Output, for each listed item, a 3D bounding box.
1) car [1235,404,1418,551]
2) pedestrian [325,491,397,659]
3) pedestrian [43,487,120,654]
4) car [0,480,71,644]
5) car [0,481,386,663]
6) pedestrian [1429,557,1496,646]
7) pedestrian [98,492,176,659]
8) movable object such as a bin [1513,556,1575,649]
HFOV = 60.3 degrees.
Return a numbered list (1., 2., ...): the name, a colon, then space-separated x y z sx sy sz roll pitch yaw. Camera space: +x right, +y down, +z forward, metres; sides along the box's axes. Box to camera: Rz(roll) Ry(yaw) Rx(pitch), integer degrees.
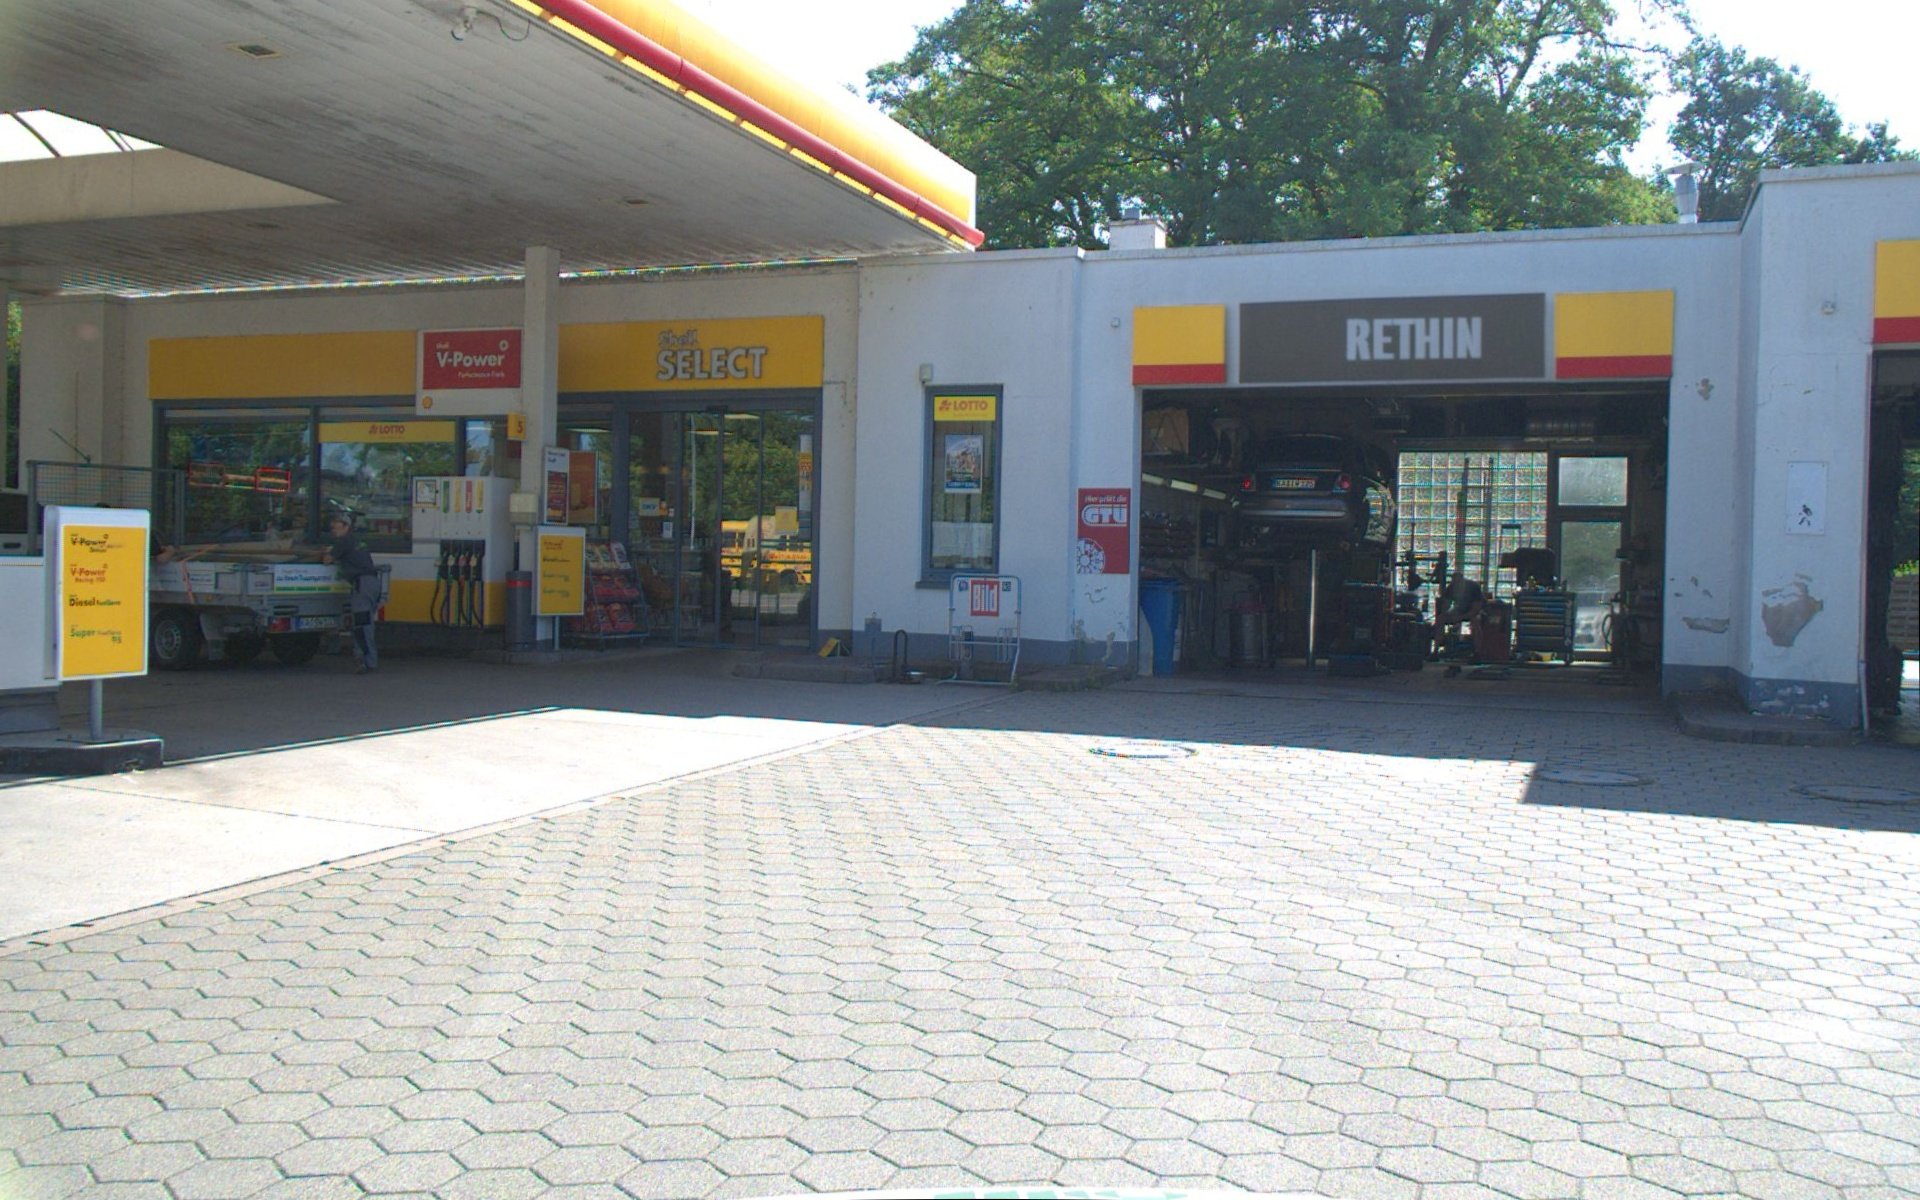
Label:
1. car: 4.805 -1.491 21.322 1.613 1.512 3.999 1 -1 23
2. pedestrian: -6.159 -0.263 17.015 0.489 1.697 0.475 1 1 22
3. pedestrian: -8.929 -0.301 16.817 0.465 1.660 0.500 1 1 24
4. car: -13.140 -0.489 19.686 4.666 1.870 1.858 1 1 20
5. car: -8.271 -0.309 17.611 3.908 1.758 1.832 1 1 25
6. pedestrian: 7.045 0.020 23.177 0.845 1.219 0.743 1 -1 20
7. pedestrian: -8.162 -0.247 16.405 0.465 1.621 0.500 1 1 24
8. movable object such as a bin: 8.133 0.035 23.030 0.781 1.258 0.544 1 -1 23
